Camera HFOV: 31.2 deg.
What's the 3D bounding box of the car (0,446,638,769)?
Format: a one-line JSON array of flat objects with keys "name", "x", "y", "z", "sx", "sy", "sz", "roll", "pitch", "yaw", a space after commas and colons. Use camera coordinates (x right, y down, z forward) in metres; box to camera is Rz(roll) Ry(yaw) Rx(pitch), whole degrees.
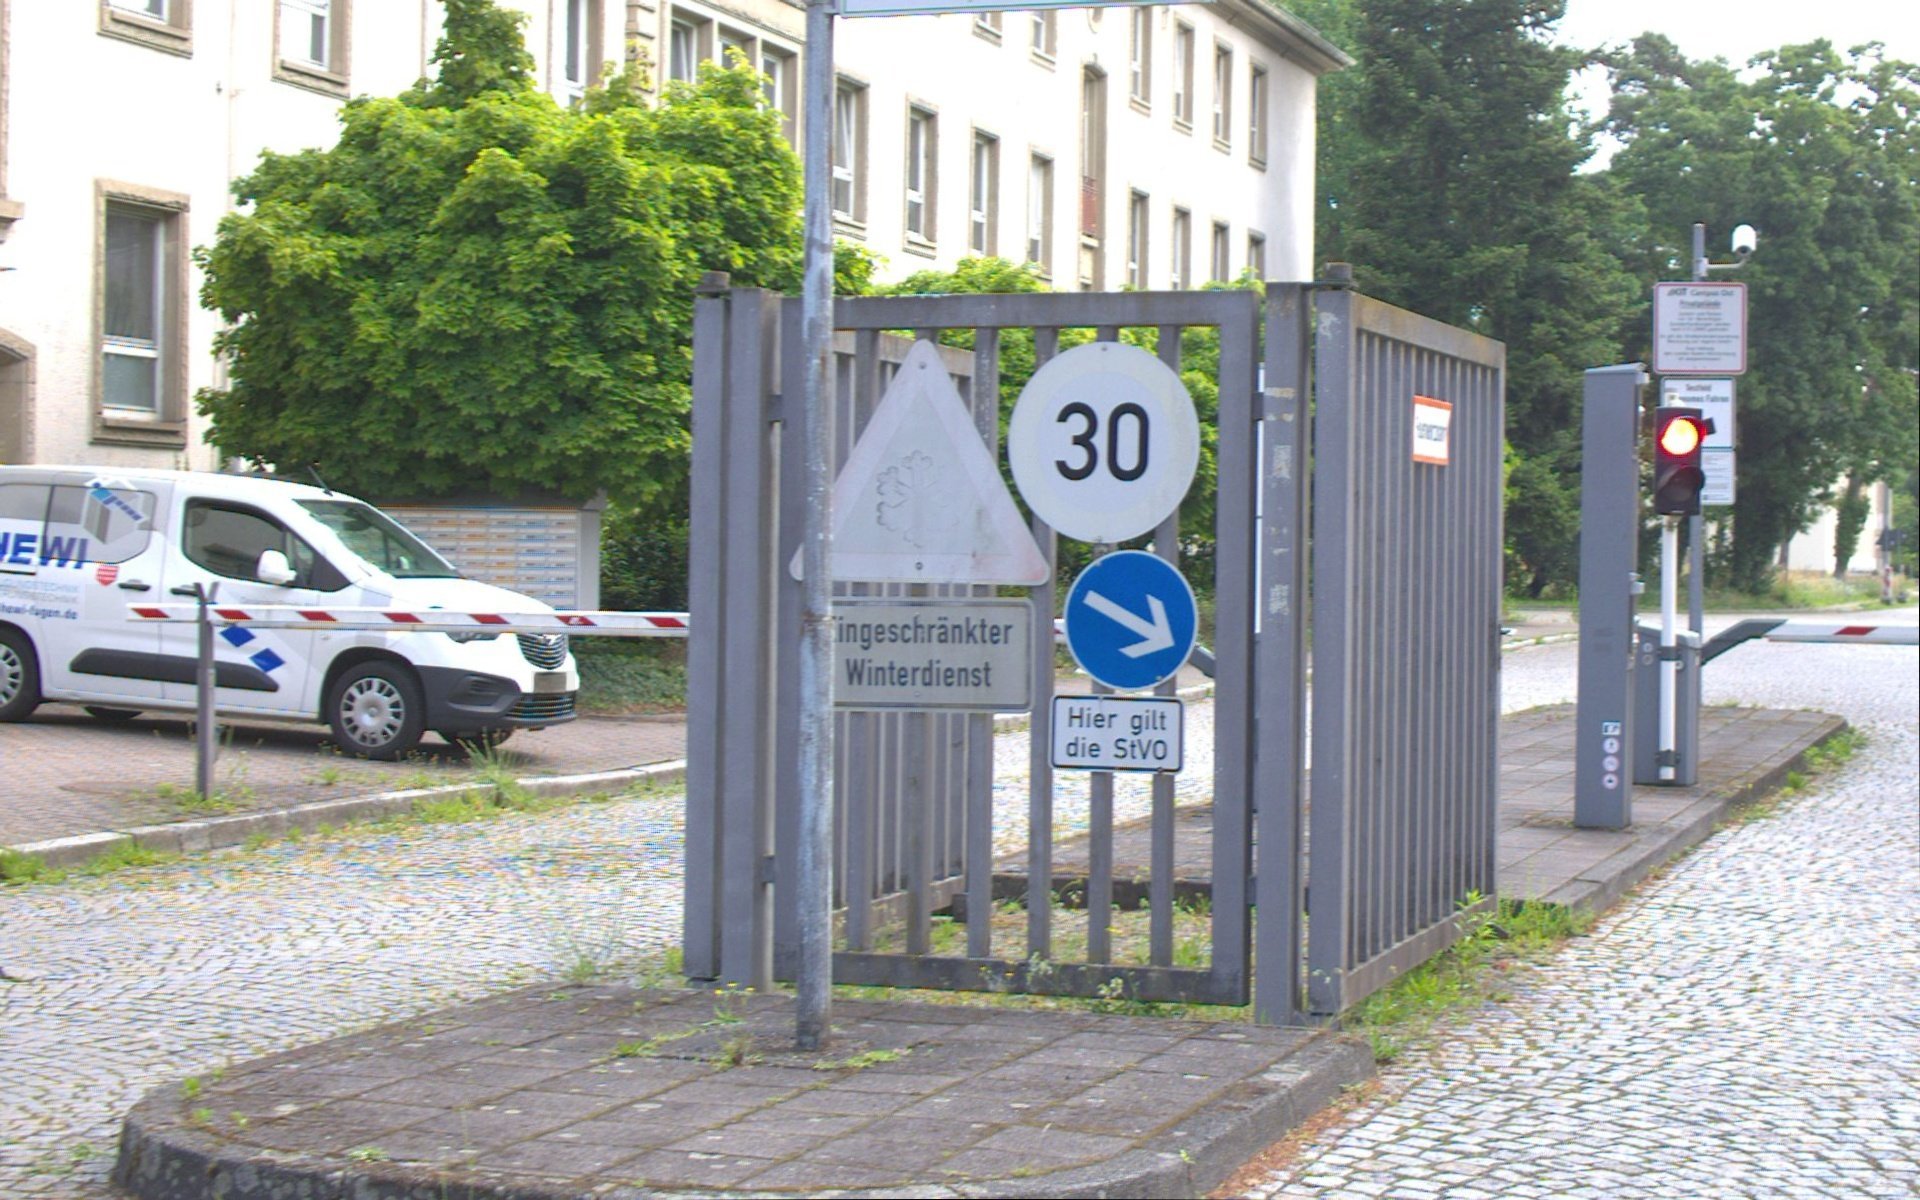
[{"name": "car", "x": -4.651, "y": -0.007, "z": 23.257, "sx": 4.440, "sy": 1.745, "sz": 1.857, "roll": 5, "pitch": 2, "yaw": 15}]
